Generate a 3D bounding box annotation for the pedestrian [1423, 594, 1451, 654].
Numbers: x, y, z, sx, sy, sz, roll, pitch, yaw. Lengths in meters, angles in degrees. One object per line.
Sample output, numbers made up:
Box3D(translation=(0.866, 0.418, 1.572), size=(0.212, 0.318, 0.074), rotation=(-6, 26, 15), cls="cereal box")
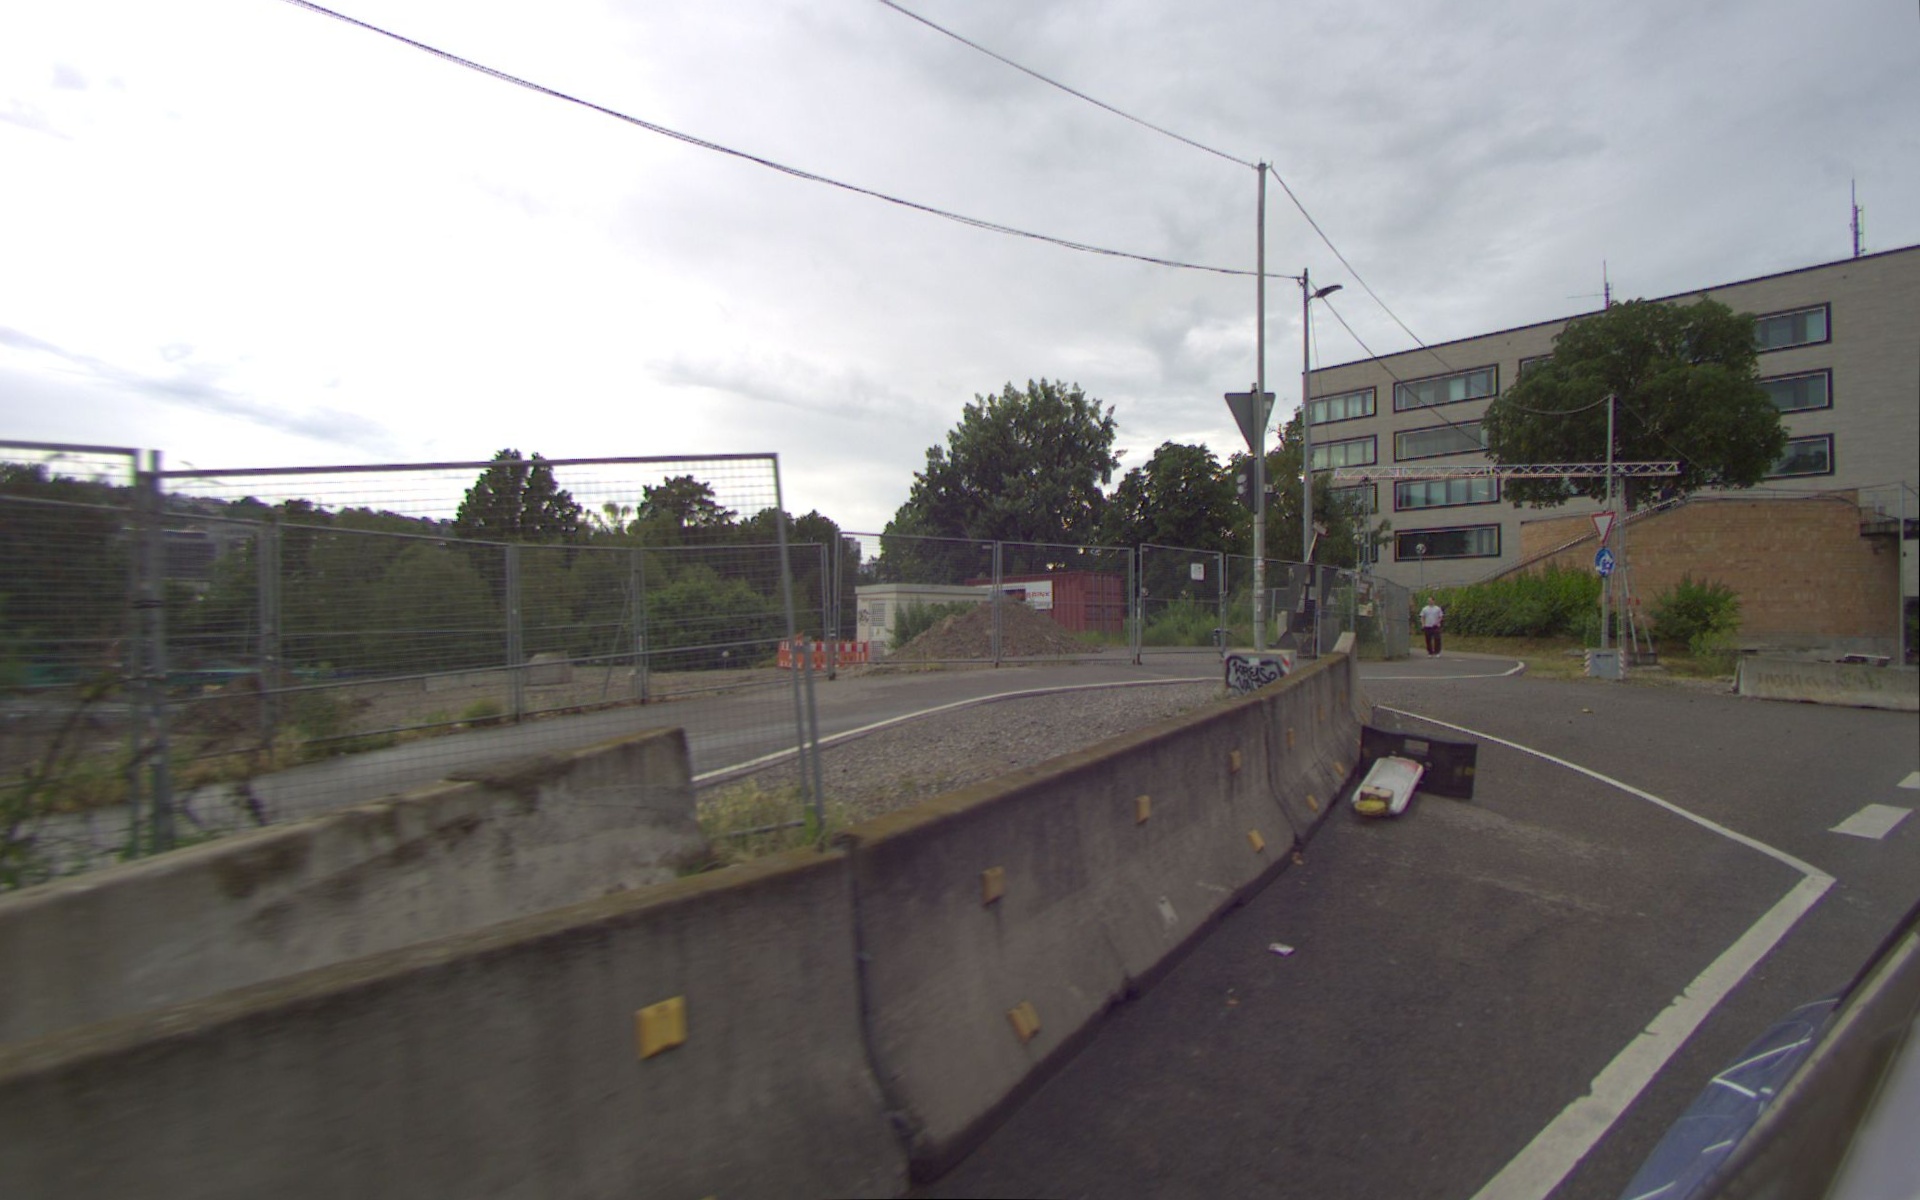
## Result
Box3D(translation=(14.570, 0.713, 30.895), size=(0.686, 1.801, 0.806), rotation=(-1, -2, 32), cls="pedestrian")
